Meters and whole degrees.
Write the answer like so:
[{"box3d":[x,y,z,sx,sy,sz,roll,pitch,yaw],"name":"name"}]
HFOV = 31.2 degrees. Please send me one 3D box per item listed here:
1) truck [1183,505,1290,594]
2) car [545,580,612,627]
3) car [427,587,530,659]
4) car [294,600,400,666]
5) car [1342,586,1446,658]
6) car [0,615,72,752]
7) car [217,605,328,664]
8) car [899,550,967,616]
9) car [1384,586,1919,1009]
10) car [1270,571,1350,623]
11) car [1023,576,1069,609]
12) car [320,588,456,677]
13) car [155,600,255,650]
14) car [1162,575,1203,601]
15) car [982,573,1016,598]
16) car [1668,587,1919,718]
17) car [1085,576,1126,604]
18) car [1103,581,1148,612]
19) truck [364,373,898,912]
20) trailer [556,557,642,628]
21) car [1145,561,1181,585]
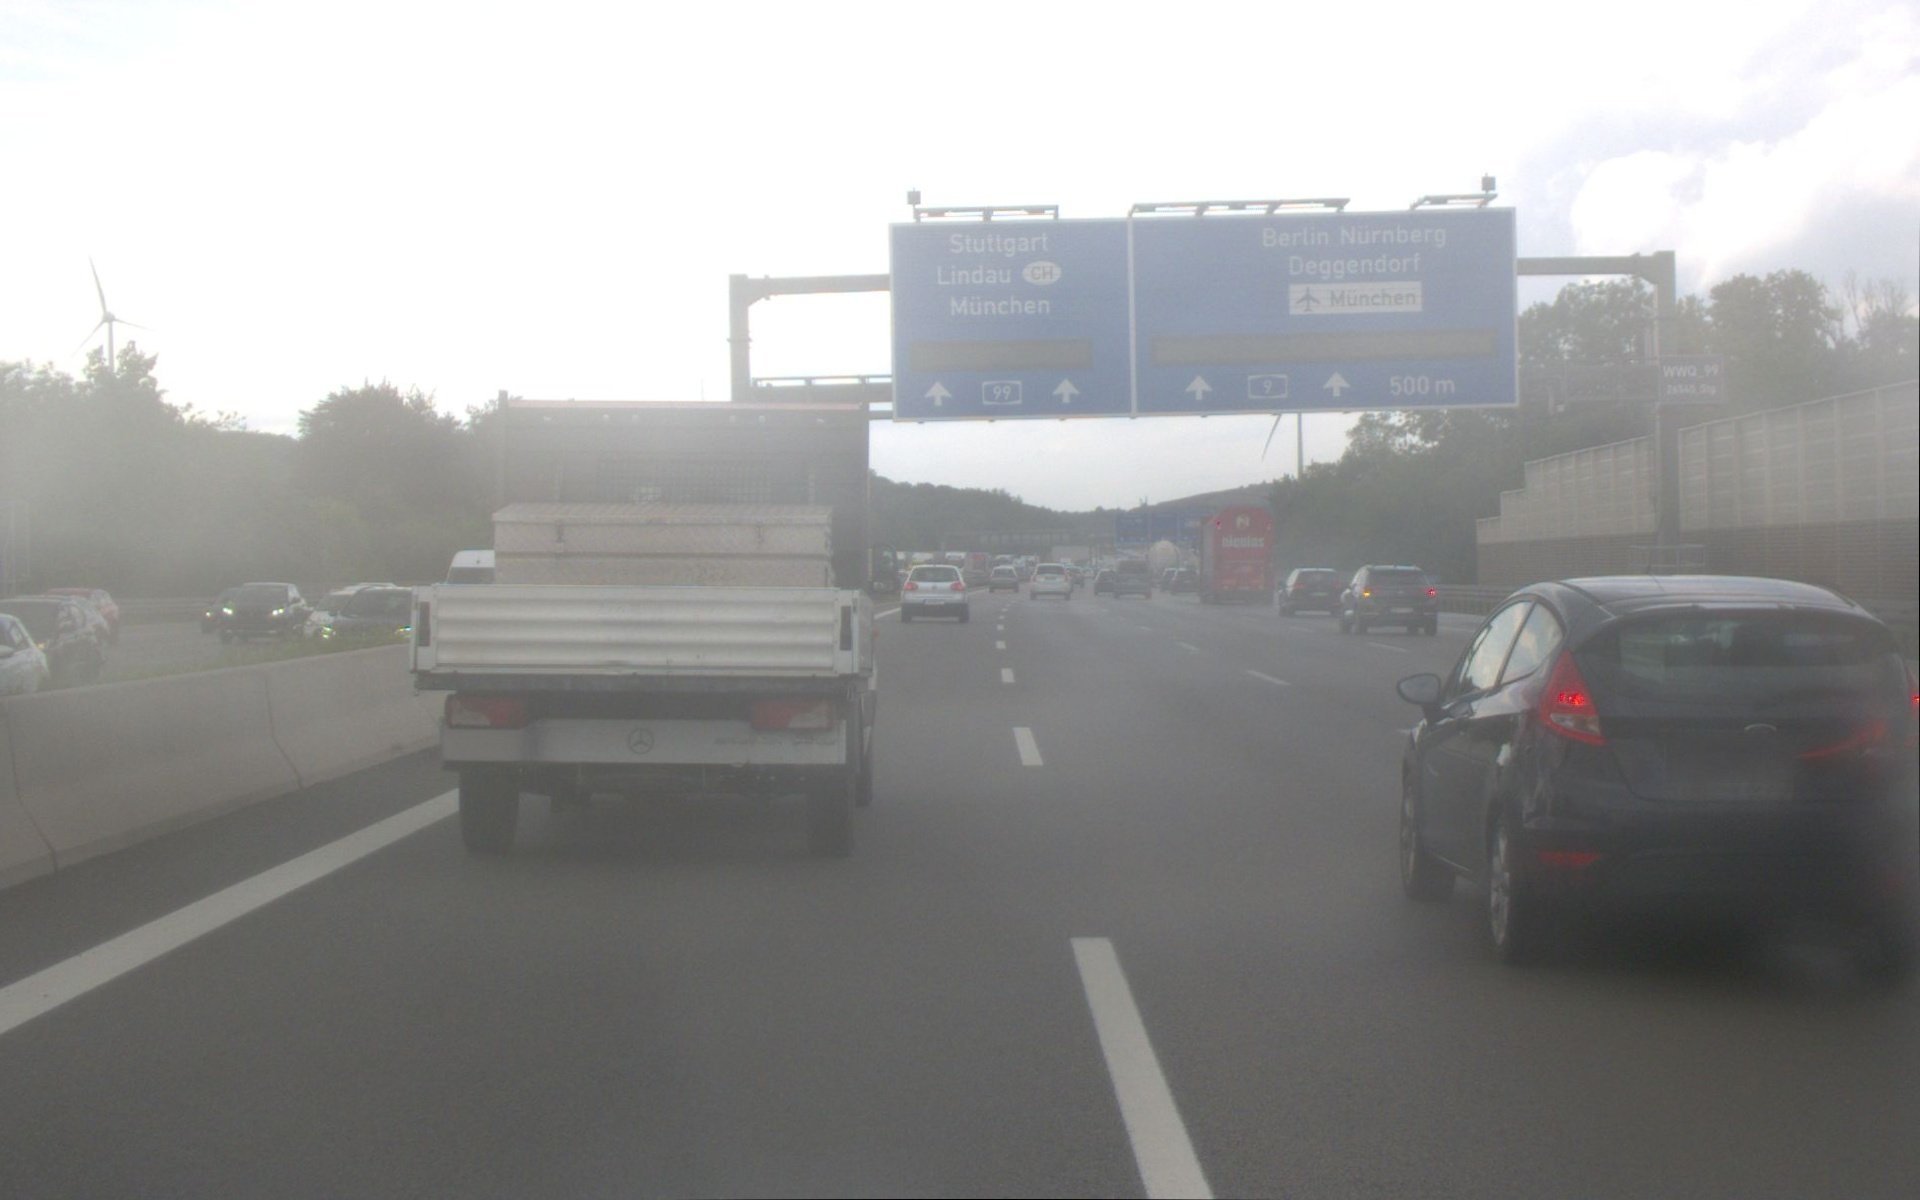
[{"box3d":[11.808,-2.203,148.077,3.152,3.589,12.700,1,1,-2],"name":"truck"},{"box3d":[-13.979,0.107,126.072,1.818,1.672,4.478,1,0,1],"name":"car"},{"box3d":[-11.275,0.509,80.764,1.723,1.597,4.913,1,0,-1],"name":"car"},{"box3d":[-14.974,0.782,84.209,1.723,1.489,4.913,1,0,-1],"name":"car"},{"box3d":[9.691,0.468,77.027,1.882,1.537,4.433,0,0,1],"name":"car"},{"box3d":[-11.116,0.895,37.384,1.723,1.423,4.649,1,0,-1],"name":"car"},{"box3d":[-18.446,0.910,92.441,1.982,1.489,4.913,0,0,0],"name":"car"},{"box3d":[-0.685,-0.460,89.708,1.717,1.618,4.279,0,1,0],"name":"car"},{"box3d":[2.780,0.663,13.849,1.717,1.412,4.278,0,0,2],"name":"car"},{"box3d":[10.765,-0.096,106.057,1.882,1.555,4.433,0,0,-1],"name":"car"},{"box3d":[4.160,-0.369,167.054,1.968,1.555,4.433,0,0,-1],"name":"car"},{"box3d":[-10.924,0.591,65.956,1.723,1.597,4.913,1,0,0],"name":"car"},{"box3d":[-23.393,0.759,106.640,1.982,1.489,4.913,0,0,0],"name":"car"},{"box3d":[13.175,-0.710,203.783,1.968,1.555,4.433,0,0,-2],"name":"car"},{"box3d":[2.471,-0.925,217.054,1.968,1.555,4.433,0,1,-1],"name":"car"},{"box3d":[9.589,0.570,39.738,1.950,1.413,4.232,0,0,0],"name":"car"},{"box3d":[8.382,-0.566,198.364,1.968,1.555,4.433,0,0,-3],"name":"car"},{"box3d":[8.463,-0.204,176.028,1.968,1.555,4.433,0,0,-2],"name":"car"},{"box3d":[-1.564,0.118,19.216,2.307,2.431,7.149,1,1,0],"name":"truck"},{"box3d":[-13.801,-0.304,131.964,2.342,2.644,7.183,0,0,1],"name":"trailer"},{"box3d":[13.420,-1.766,227.616,1.968,1.555,4.433,0,0,-2],"name":"car"}]
